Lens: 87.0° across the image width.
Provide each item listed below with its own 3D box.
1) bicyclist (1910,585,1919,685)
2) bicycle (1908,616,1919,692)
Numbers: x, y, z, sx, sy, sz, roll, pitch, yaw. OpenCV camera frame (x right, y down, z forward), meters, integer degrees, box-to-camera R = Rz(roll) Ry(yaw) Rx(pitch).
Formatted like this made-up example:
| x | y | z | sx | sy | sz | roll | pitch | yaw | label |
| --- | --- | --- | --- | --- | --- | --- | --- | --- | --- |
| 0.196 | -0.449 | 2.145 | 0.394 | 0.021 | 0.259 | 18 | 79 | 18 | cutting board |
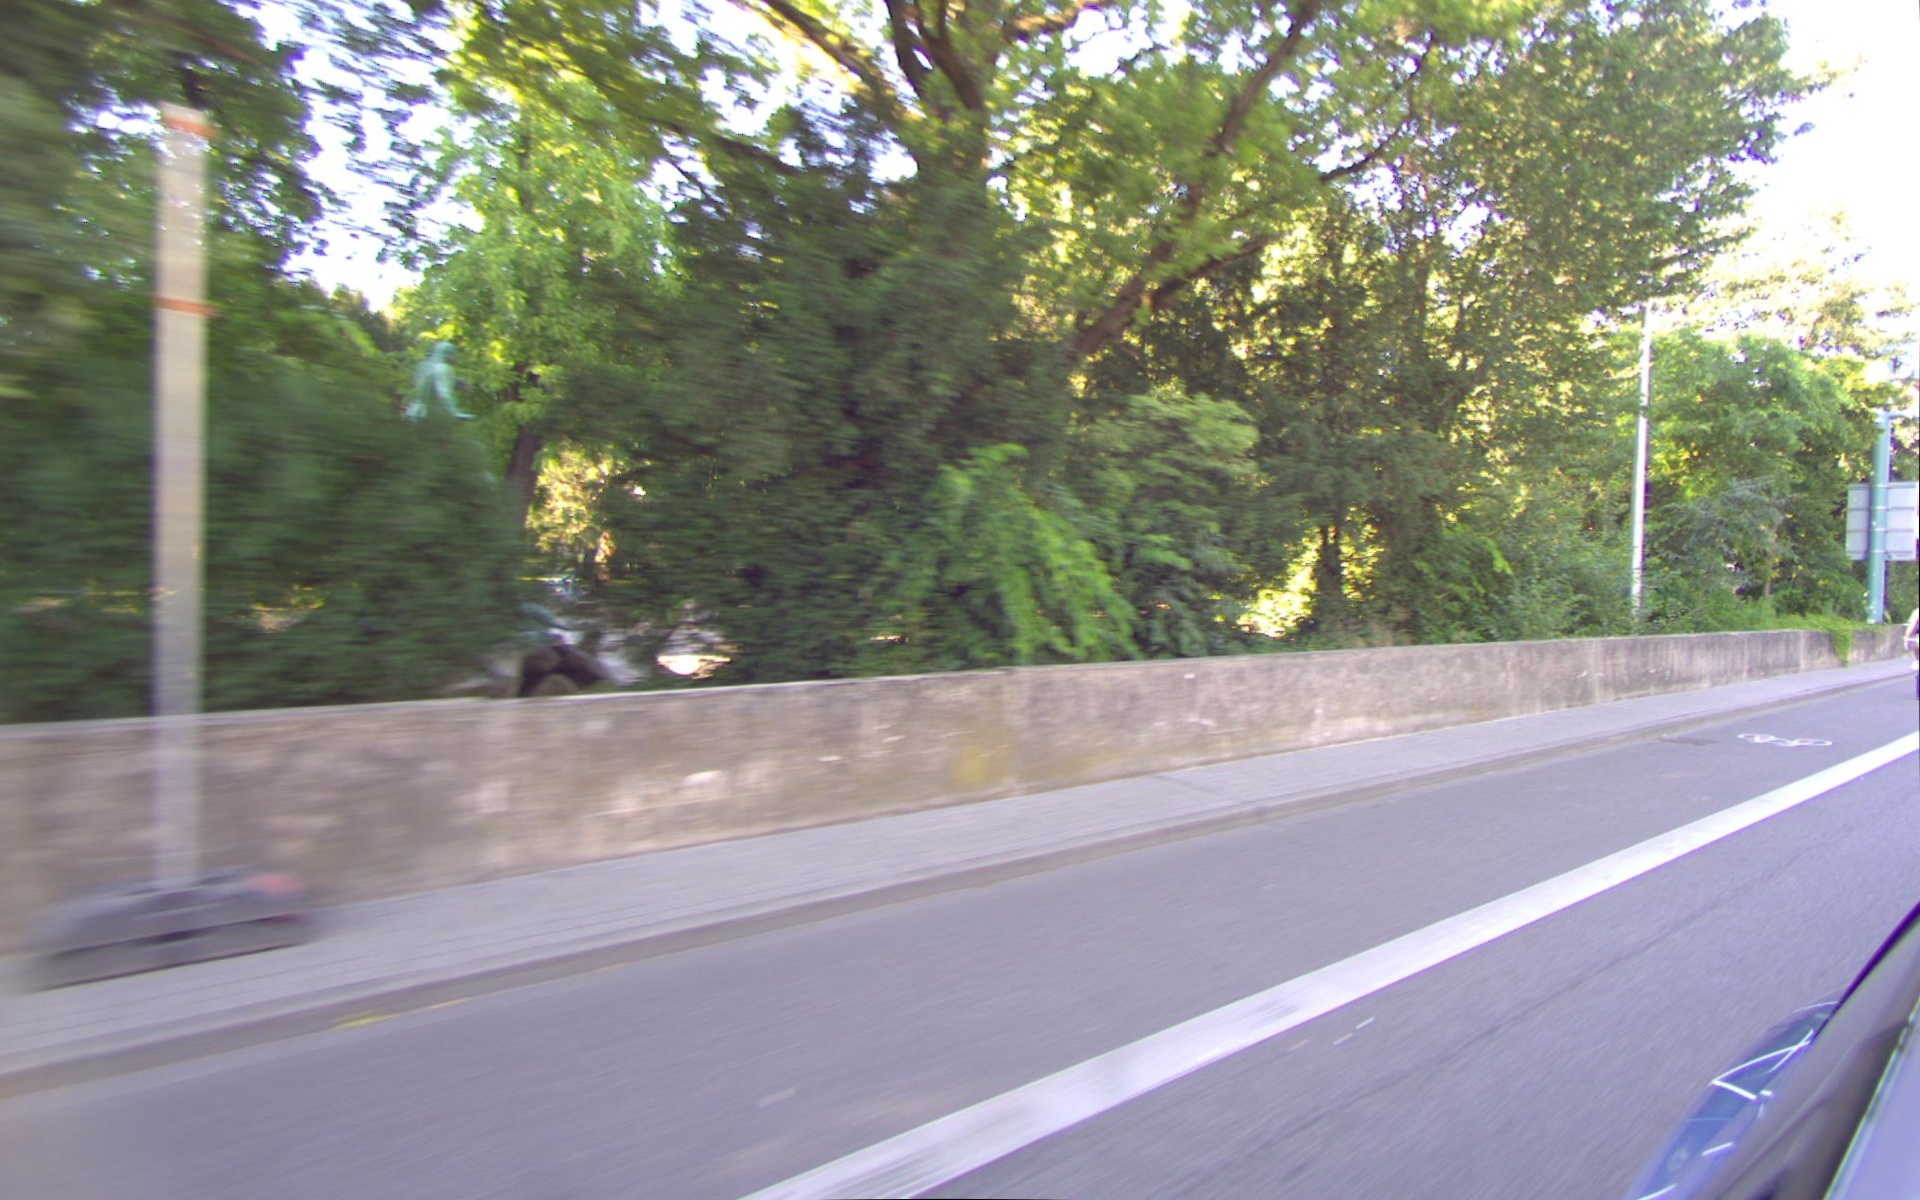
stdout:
| x | y | z | sx | sy | sz | roll | pitch | yaw | label |
| --- | --- | --- | --- | --- | --- | --- | --- | --- | --- |
| 15.060 | 0.534 | 15.493 | 1.061 | 1.509 | 0.554 | 1 | 1 | -38 | bicyclist |
| 15.049 | 0.807 | 15.498 | 1.809 | 1.111 | 0.522 | 0 | 0 | -38 | bicycle |
